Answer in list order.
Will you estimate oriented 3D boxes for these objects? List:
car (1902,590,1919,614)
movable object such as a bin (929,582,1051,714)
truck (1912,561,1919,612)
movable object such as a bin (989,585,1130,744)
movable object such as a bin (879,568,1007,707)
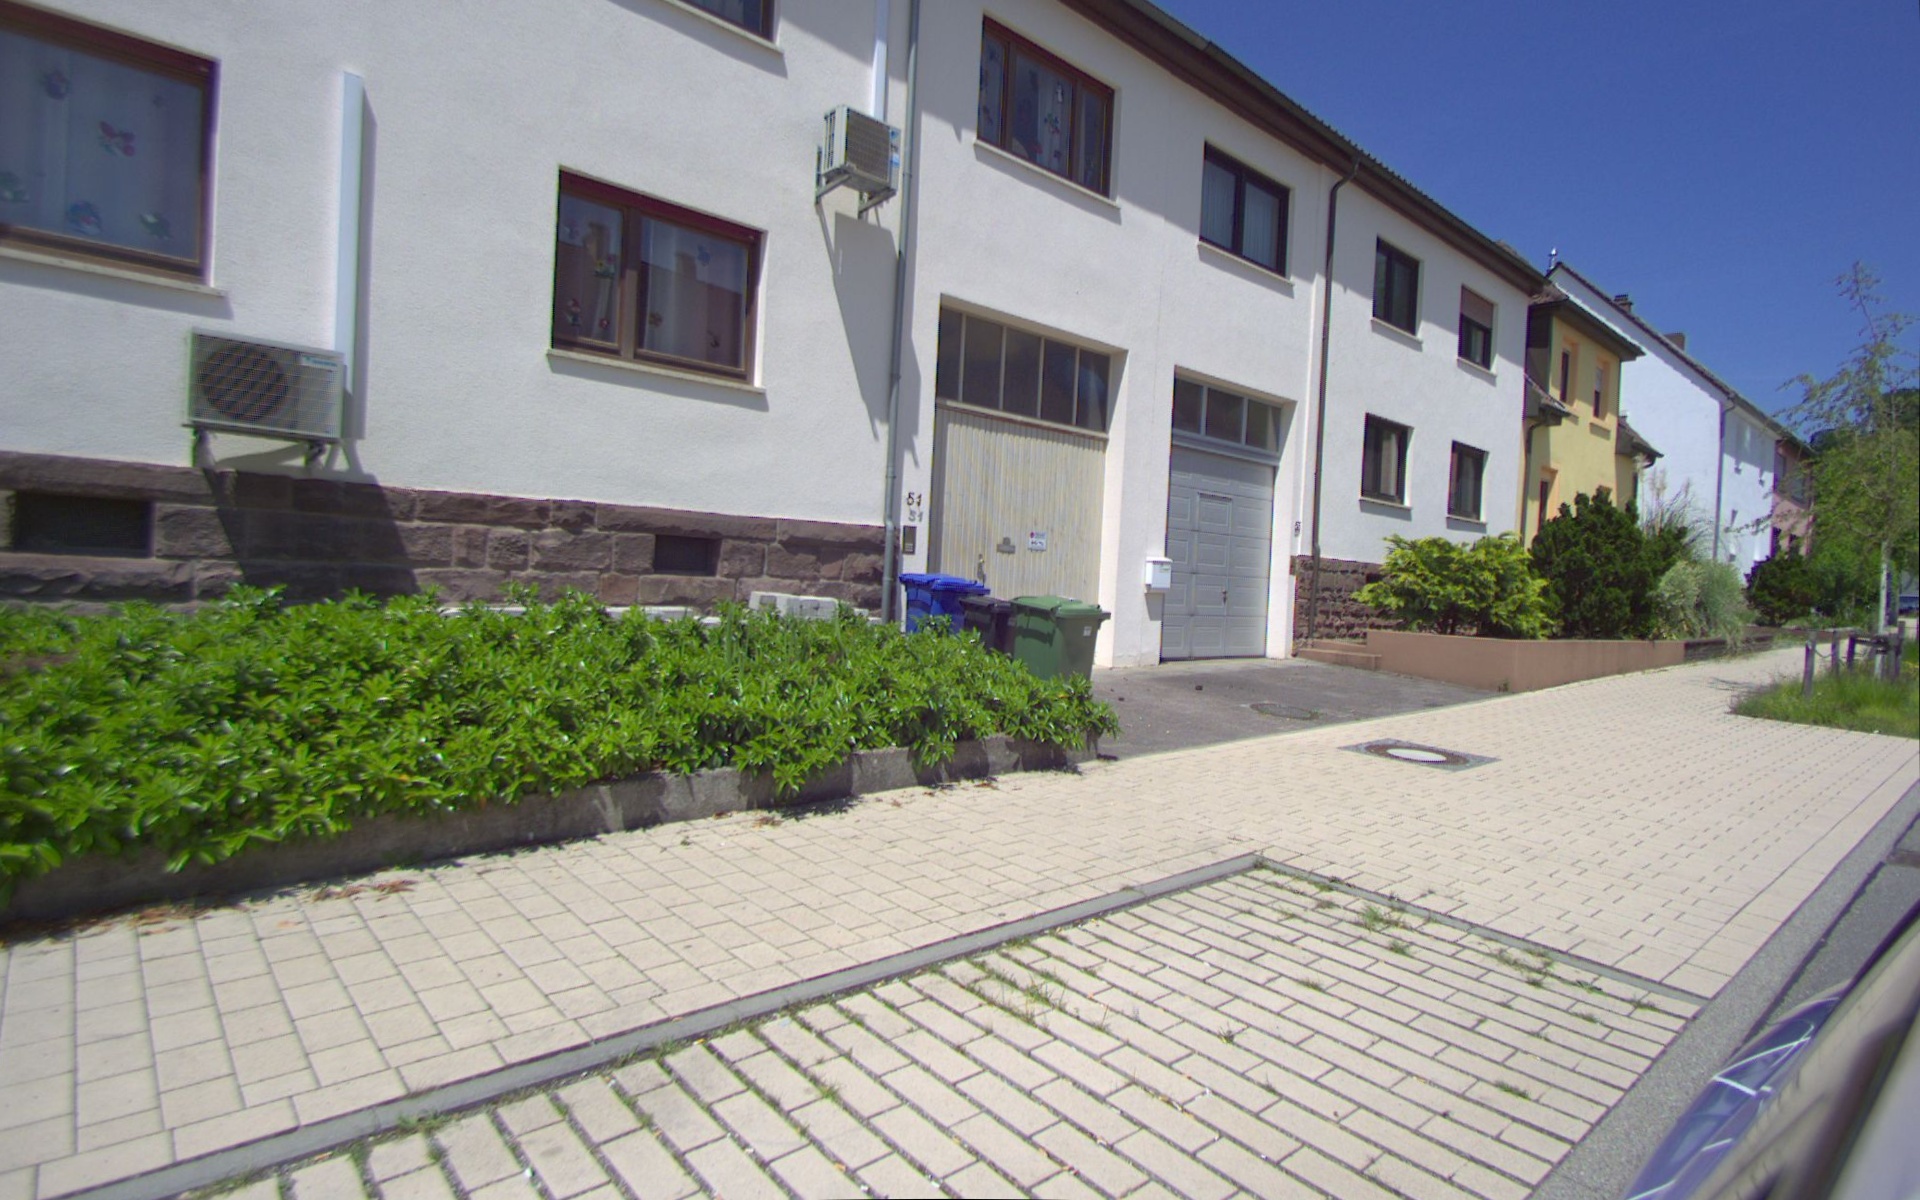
[{"bbox_3d":[58.298,0.120,61.217,1.670,1.393,3.941,4,3,40],"label":"car"},{"bbox_3d":[0.249,0.376,8.455,0.787,0.997,0.560,0,6,-34],"label":"movable object such as a bin"},{"bbox_3d":[64.840,-0.914,65.897,2.788,3.457,8.023,0,0,33],"label":"truck"},{"bbox_3d":[0.784,0.475,8.012,0.797,1.128,0.687,0,5,-35],"label":"movable object such as a bin"},{"bbox_3d":[-0.155,0.309,9.011,0.846,1.119,0.688,0,5,-34],"label":"movable object such as a bin"}]
